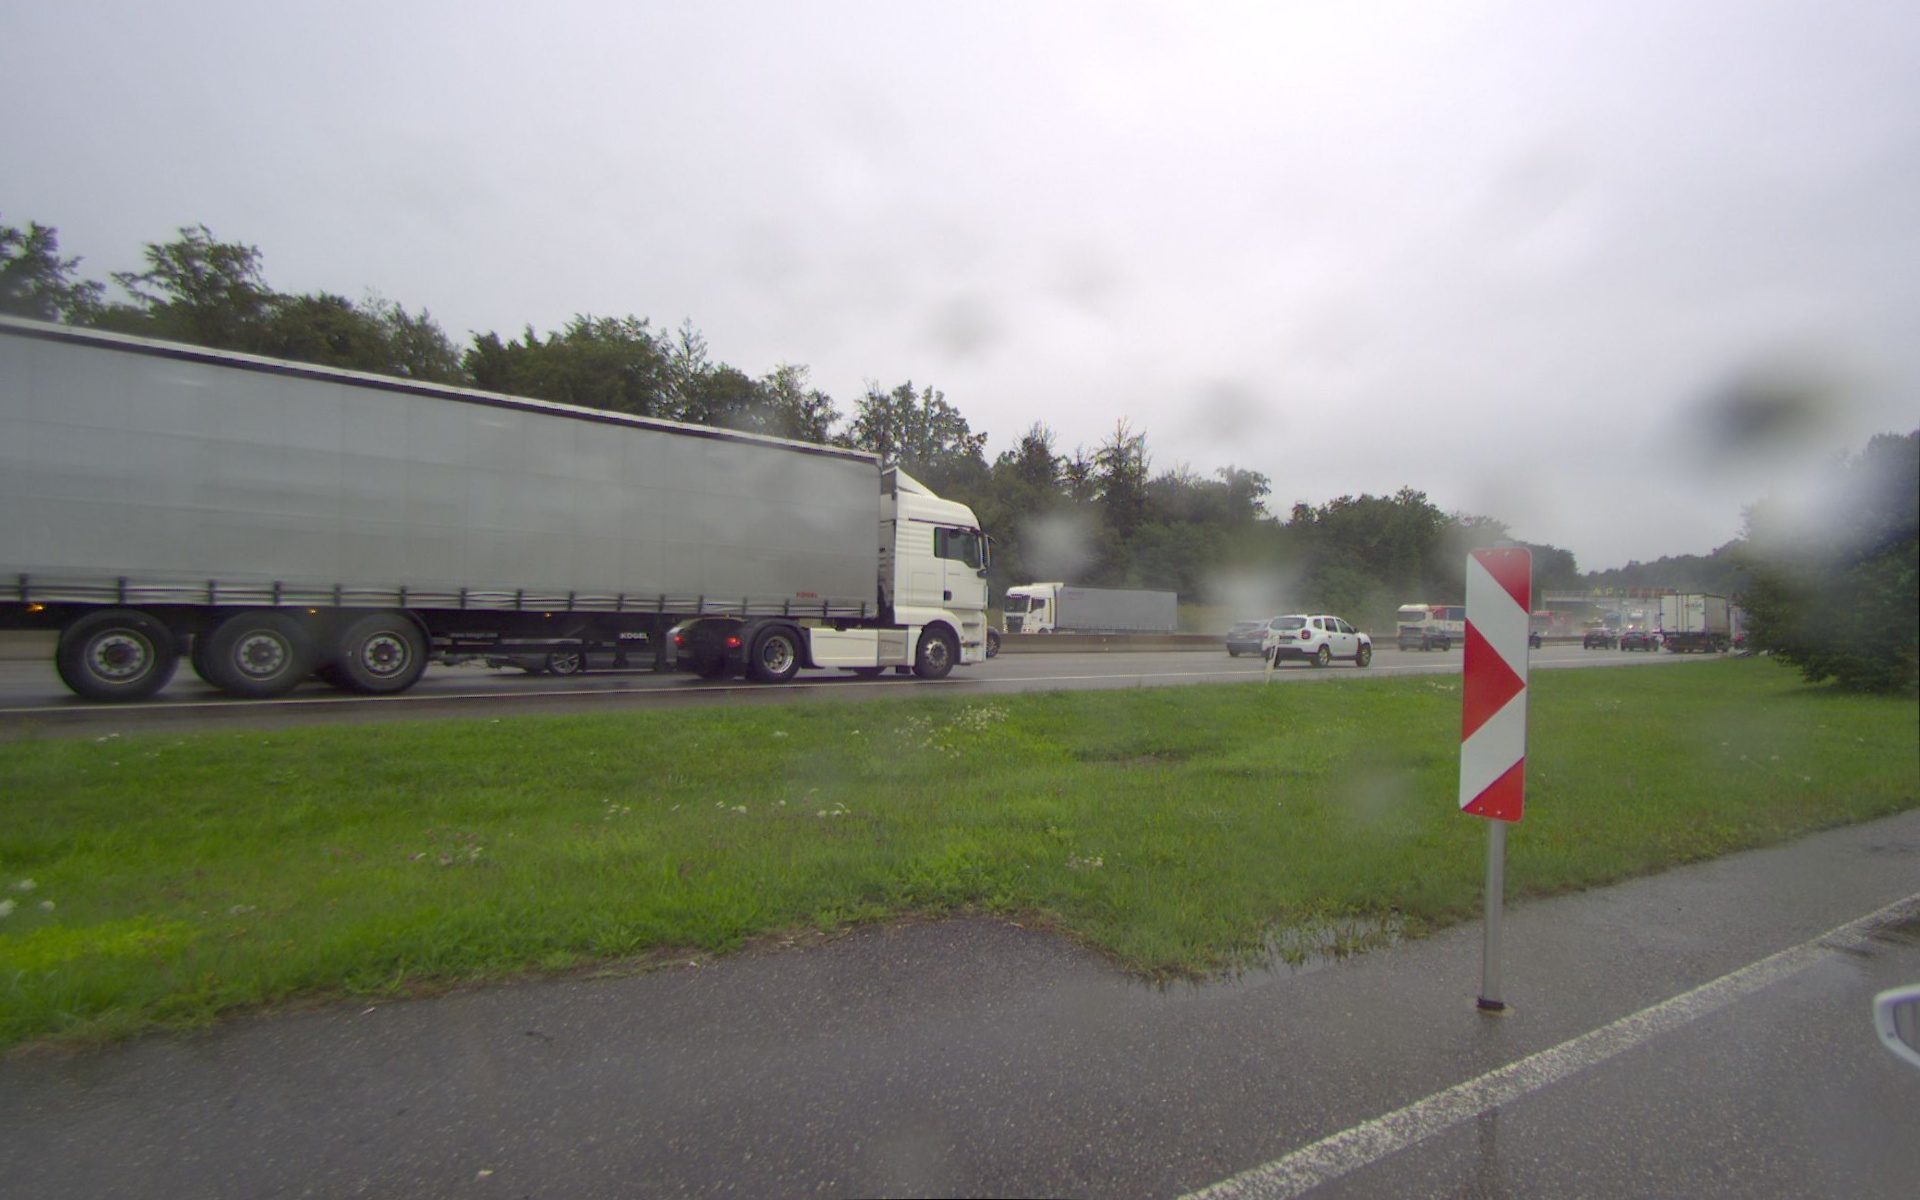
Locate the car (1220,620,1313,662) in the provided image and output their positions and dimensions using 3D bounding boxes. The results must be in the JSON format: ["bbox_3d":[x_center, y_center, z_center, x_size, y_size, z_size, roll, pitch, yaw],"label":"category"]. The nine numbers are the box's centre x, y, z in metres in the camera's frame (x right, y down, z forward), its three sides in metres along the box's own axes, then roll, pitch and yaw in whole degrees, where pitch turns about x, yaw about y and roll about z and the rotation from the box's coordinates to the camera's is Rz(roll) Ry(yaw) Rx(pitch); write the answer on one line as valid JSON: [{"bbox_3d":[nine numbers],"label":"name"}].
[{"bbox_3d":[13.229,1.769,43.238,4.428,1.685,1.907,3,-2,-43],"label":"car"}]

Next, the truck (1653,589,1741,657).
[{"bbox_3d":[51.690,1.711,70.248,11.761,4.349,2.822,3,-2,-43],"label":"truck"}]

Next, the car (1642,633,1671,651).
[{"bbox_3d":[80.705,4.829,116.299,3.972,2.040,1.975,2,-2,-43],"label":"car"}]

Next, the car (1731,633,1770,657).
[{"bbox_3d":[66.334,3.759,84.251,3.972,1.840,1.974,2,0,-43],"label":"car"}]

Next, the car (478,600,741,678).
[{"bbox_3d":[-6.768,0.767,19.714,4.547,1.366,1.829,2,-3,-42],"label":"car"}]

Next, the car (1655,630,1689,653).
[{"bbox_3d":[71.709,4.200,101.139,3.972,2.040,1.974,2,2,-43],"label":"car"}]

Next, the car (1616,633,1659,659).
[{"bbox_3d":[49.281,3.354,73.077,3.819,1.759,1.759,3,-2,-42],"label":"car"}]

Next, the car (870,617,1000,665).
[{"bbox_3d":[-0.829,1.447,35.071,4.490,1.595,1.690,3,-3,-41],"label":"car"}]

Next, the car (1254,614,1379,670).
[{"bbox_3d":[10.942,1.281,30.708,4.290,1.607,1.770,2,-3,-41],"label":"car"}]

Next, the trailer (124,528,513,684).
[{"bbox_3d":[-10.413,0.187,16.584,5.140,2.184,2.110,2,-3,-42],"label":"trailer"}]

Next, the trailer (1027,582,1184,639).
[{"bbox_3d":[10.595,0.670,71.184,13.955,3.587,2.698,0,4,-43],"label":"trailer"}]

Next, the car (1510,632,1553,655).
[{"bbox_3d":[44.662,3.401,78.496,4.070,1.759,1.759,3,-2,-42],"label":"car"}]

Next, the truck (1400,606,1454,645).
[{"bbox_3d":[46.851,2.499,100.782,5.947,3.719,2.598,0,3,-42],"label":"truck"}]

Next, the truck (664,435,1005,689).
[{"bbox_3d":[-2.240,-0.483,19.214,5.890,4.105,2.847,3,-3,-42],"label":"truck"}]

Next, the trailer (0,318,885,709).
[{"bbox_3d":[-7.511,-0.698,14.460,14.014,4.034,2.869,3,-3,-42],"label":"trailer"}]

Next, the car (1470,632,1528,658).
[{"bbox_3d":[34.176,2.873,63.654,4.298,1.547,1.774,2,-2,-39],"label":"car"}]

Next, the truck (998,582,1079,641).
[{"bbox_3d":[5.169,0.684,66.182,4.727,3.582,2.689,0,5,-42],"label":"truck"}]

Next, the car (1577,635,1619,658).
[{"bbox_3d":[50.609,3.674,79.651,4.069,1.759,1.760,2,-3,-42],"label":"car"}]
